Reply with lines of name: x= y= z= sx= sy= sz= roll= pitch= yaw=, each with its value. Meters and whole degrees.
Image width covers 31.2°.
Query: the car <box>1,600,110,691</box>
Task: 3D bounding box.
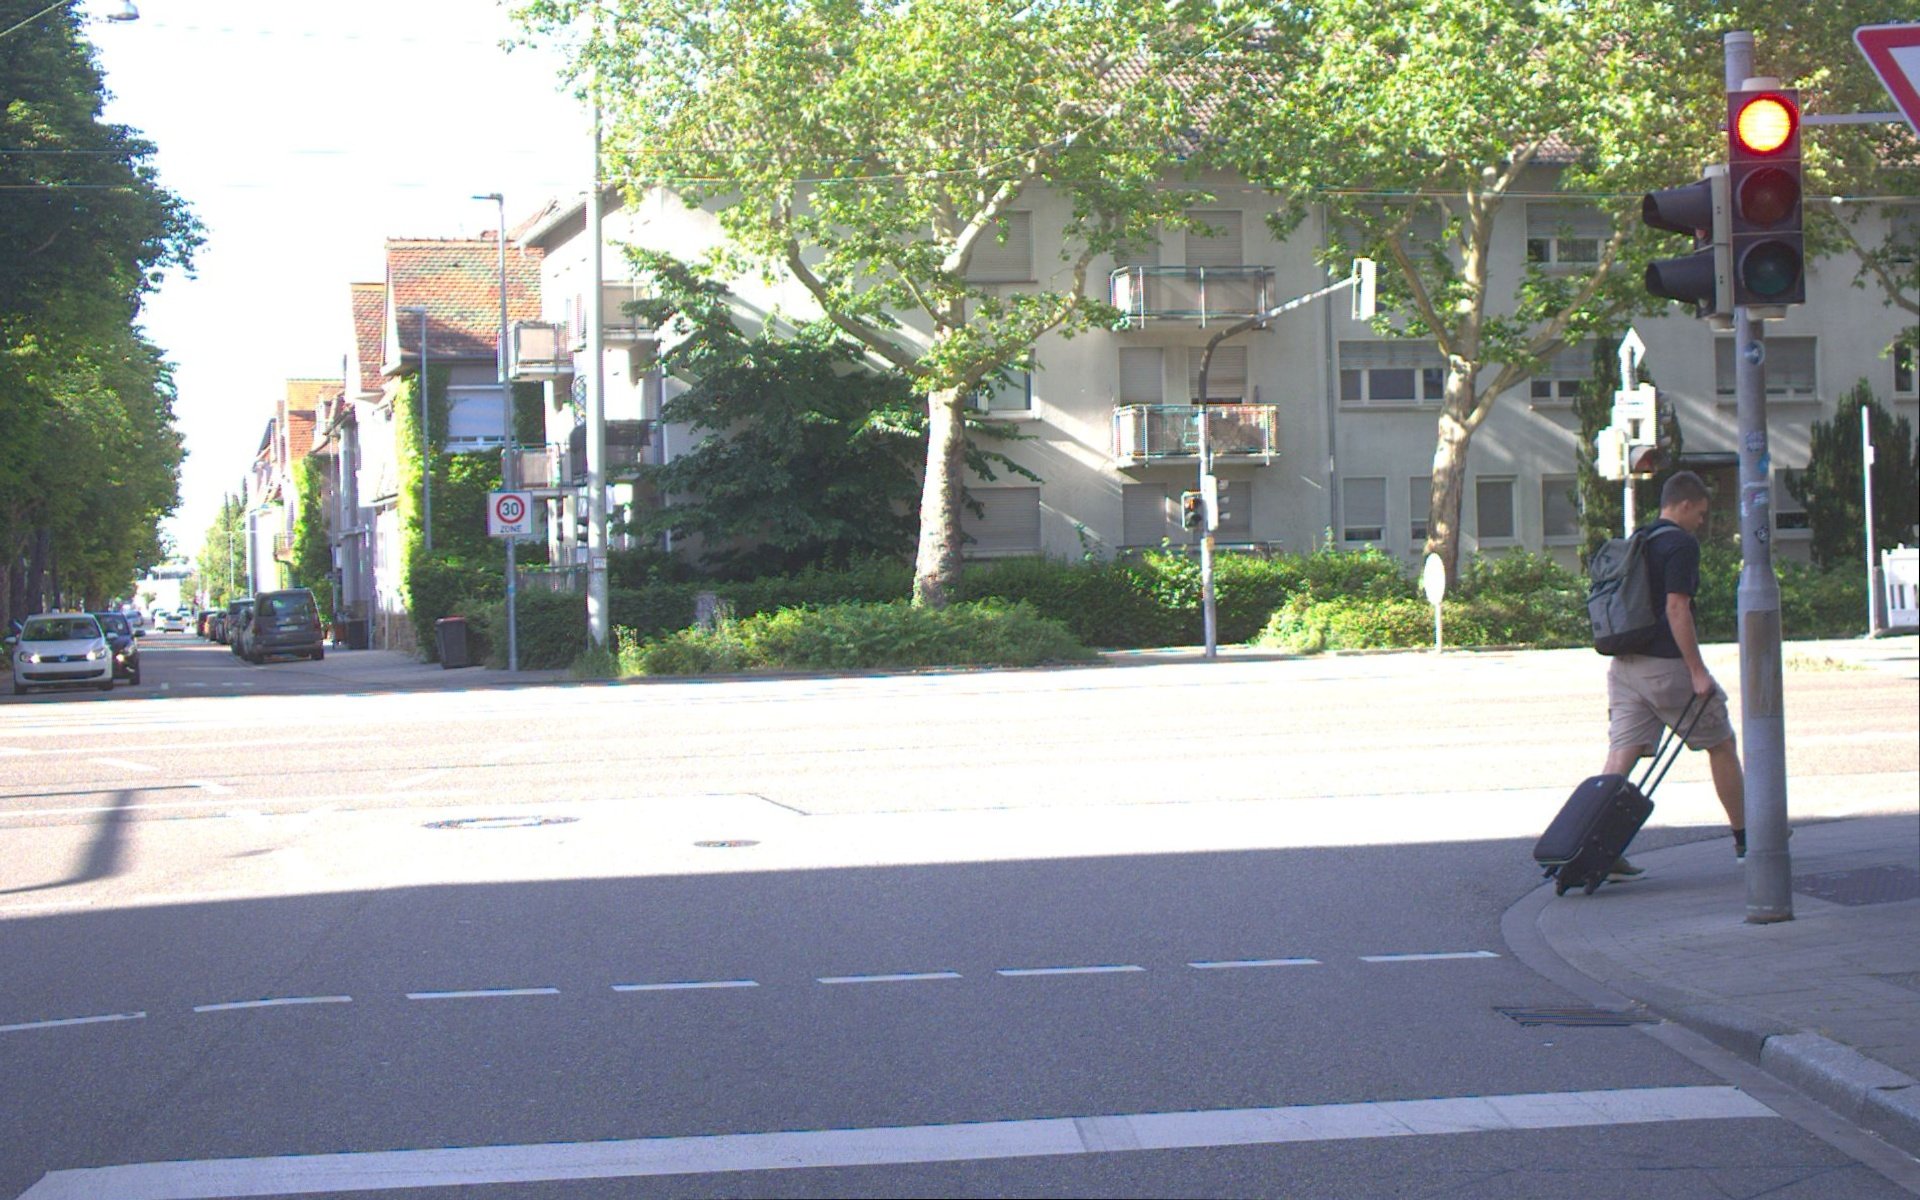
car: x=-16.640 y=0.813 z=63.357 sx=1.698 sy=1.478 sz=3.535 roll=-3 pitch=1 yaw=-12

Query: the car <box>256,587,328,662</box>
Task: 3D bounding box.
car: x=-18.381 y=0.651 z=94.529 sx=1.772 sy=1.912 sz=3.535 roll=-3 pitch=1 yaw=-12

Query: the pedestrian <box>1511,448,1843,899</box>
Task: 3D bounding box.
pedestrian: x=3.147 y=0.305 z=15.123 sx=1.065 sy=1.842 sz=0.749 roll=-5 pitch=2 yaw=-17

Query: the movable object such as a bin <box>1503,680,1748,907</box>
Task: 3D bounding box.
movable object such as a bin: x=2.813 y=0.807 z=14.558 sx=0.861 sy=0.889 sz=0.509 roll=-2 pitch=1 yaw=-13

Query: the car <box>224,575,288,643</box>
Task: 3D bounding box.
car: x=-21.445 y=0.258 z=104.643 sx=1.772 sy=1.912 sz=3.535 roll=-3 pitch=1 yaw=-12

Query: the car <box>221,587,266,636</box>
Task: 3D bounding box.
car: x=-30.521 y=0.471 z=146.439 sx=1.772 sy=1.912 sz=3.535 roll=-3 pitch=1 yaw=-12

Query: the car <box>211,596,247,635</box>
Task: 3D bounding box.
car: x=-38.456 y=0.794 z=180.821 sx=1.772 sy=1.912 sz=3.535 roll=-3 pitch=1 yaw=-12

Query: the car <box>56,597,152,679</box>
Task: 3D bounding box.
car: x=-17.282 y=0.745 z=69.518 sx=1.698 sy=1.478 sz=3.535 roll=-3 pitch=1 yaw=-12
